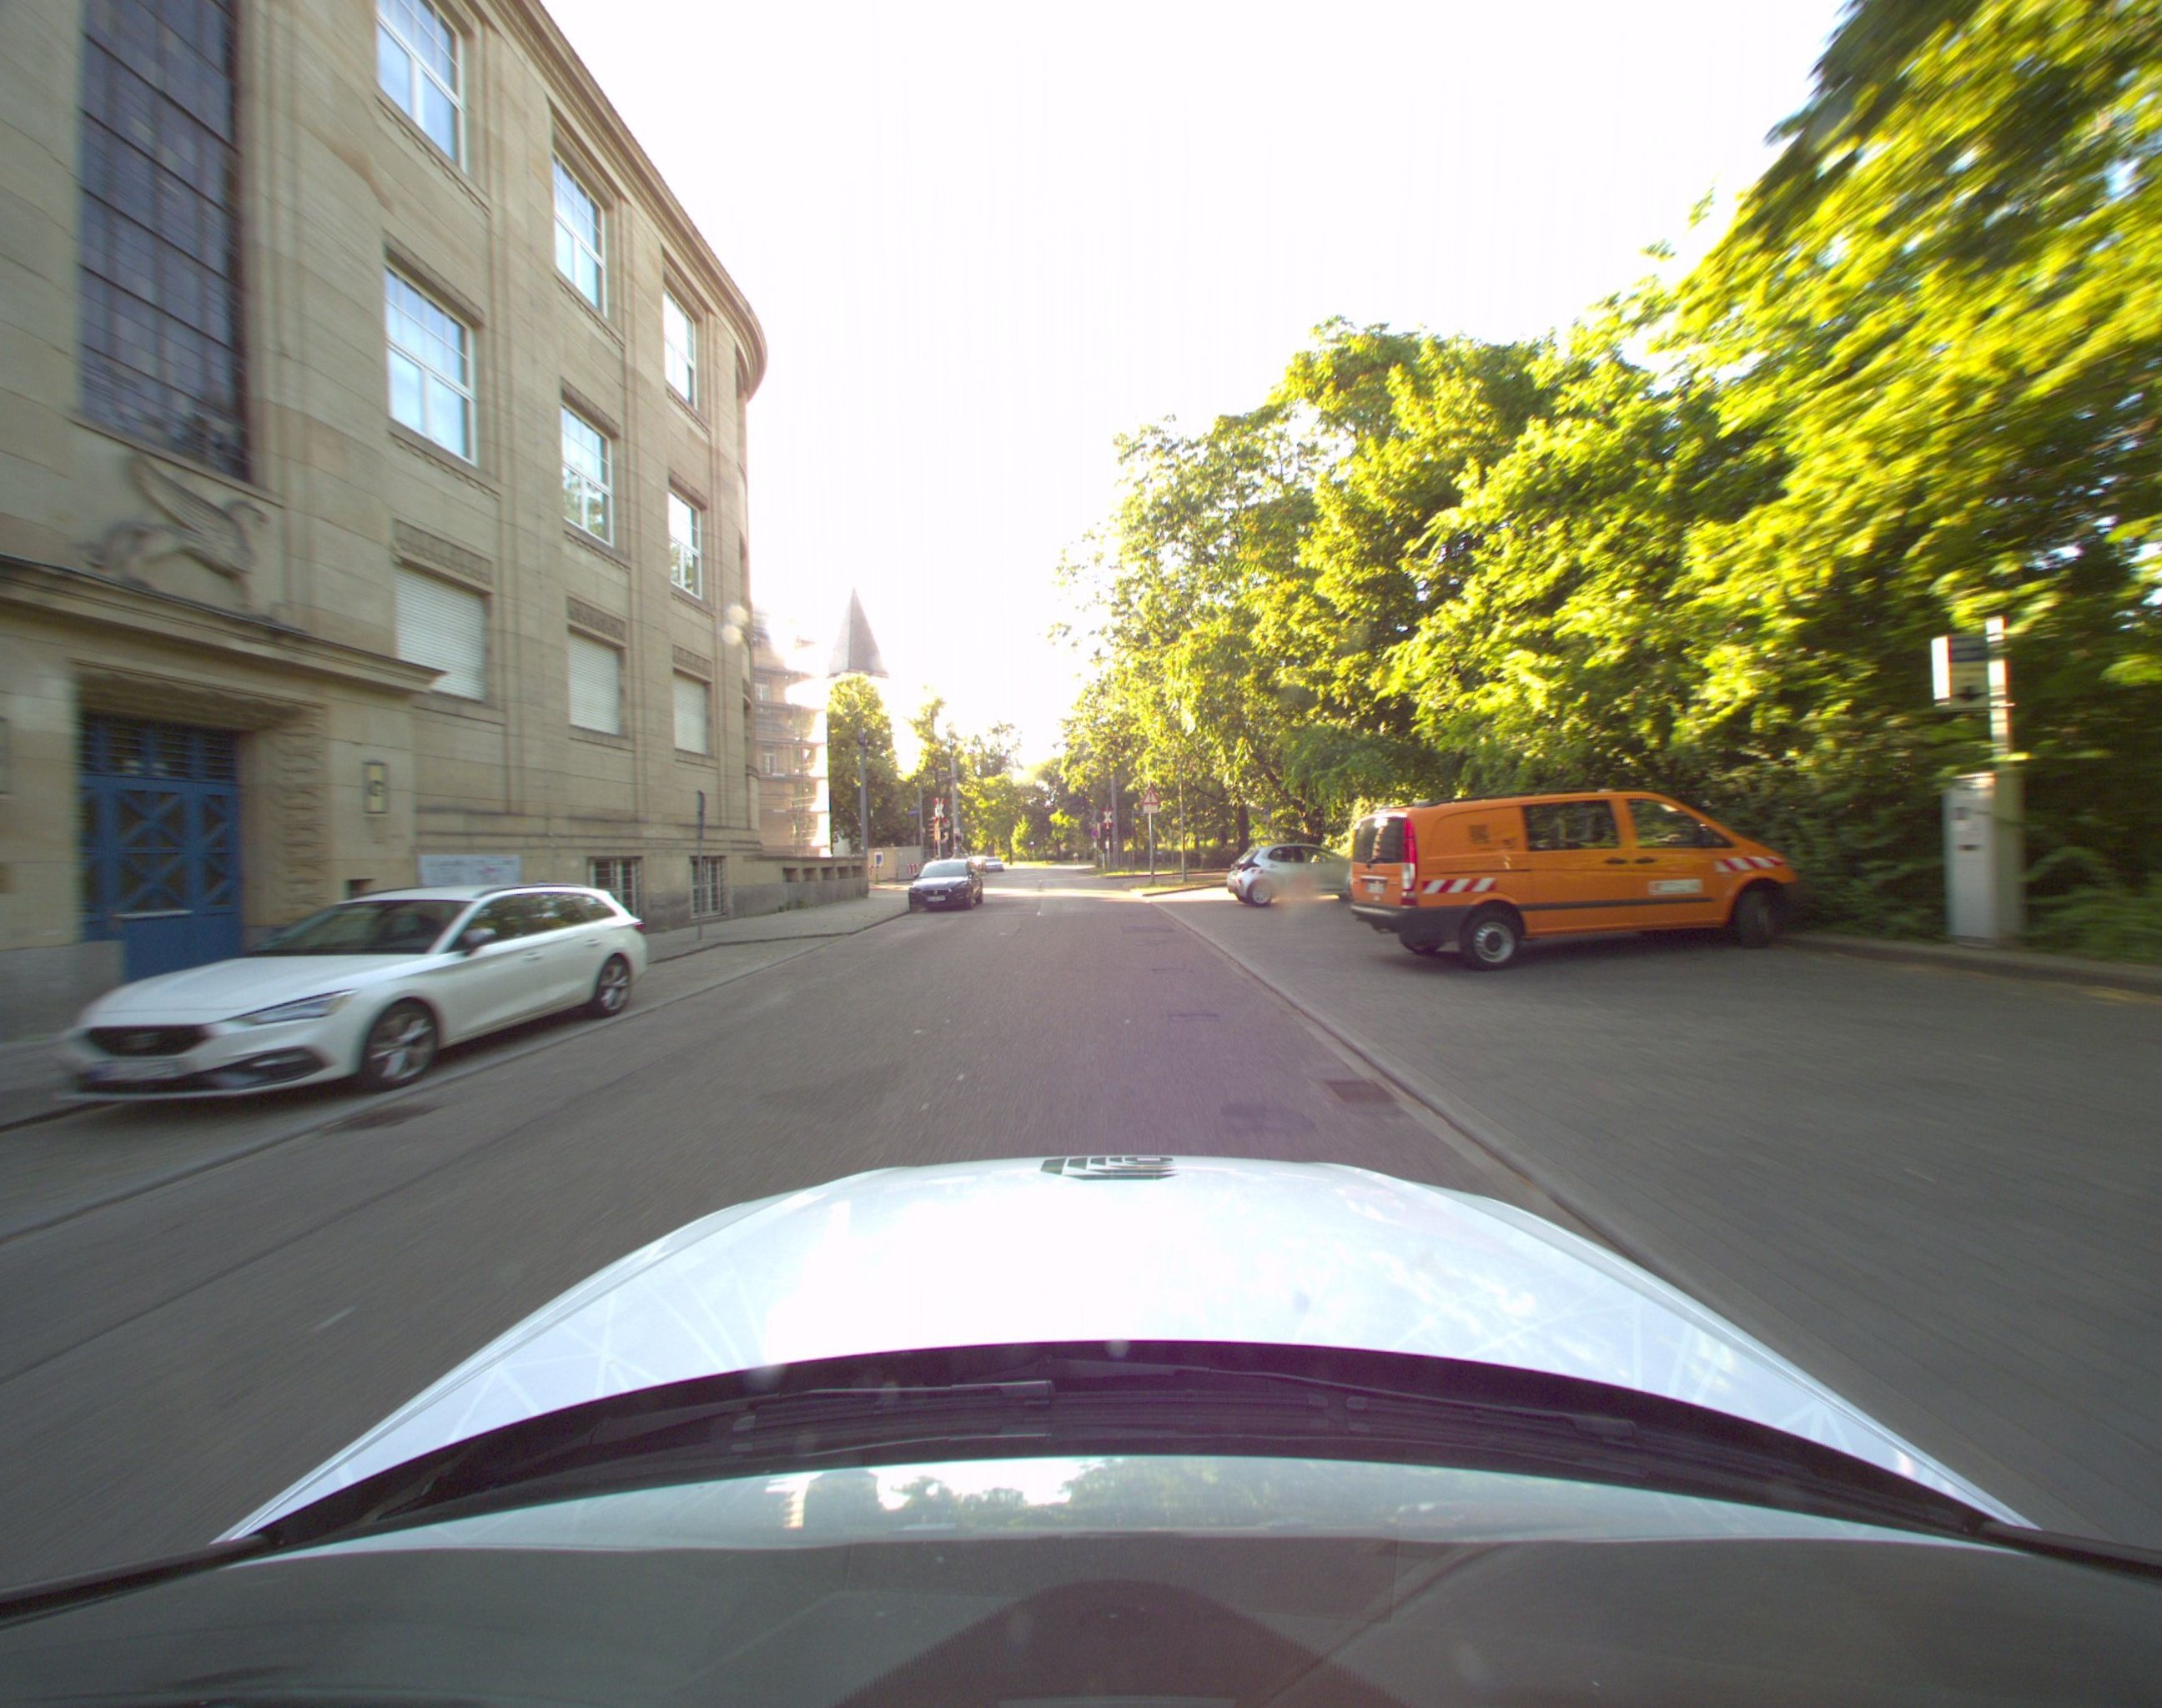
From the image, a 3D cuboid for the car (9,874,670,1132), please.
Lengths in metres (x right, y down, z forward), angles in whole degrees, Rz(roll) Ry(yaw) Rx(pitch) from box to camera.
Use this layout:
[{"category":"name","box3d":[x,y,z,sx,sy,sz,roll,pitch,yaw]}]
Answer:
[{"category":"car","box3d":[-5.765,0.981,7.348,1.738,1.435,4.560,-1,0,0]}]

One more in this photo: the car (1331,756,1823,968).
[{"category":"car","box3d":[5.872,0.070,10.081,4.785,1.997,2.078,-4,0,-3]}]

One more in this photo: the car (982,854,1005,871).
[{"category":"car","box3d":[-8.392,0.795,77.795,1.779,1.415,4.483,-4,1,-9]}]

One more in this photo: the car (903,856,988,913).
[{"category":"car","box3d":[-3.947,0.840,24.389,1.738,1.448,4.208,-3,0,1]}]

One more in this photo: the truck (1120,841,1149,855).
[{"category":"truck","box3d":[12.678,-1.403,192.961,2.623,3.029,7.924,-2,0,-34]}]

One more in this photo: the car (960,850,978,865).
[{"category":"car","box3d":[-15.225,0.466,110.862,1.854,1.946,4.818,-2,0,-14]}]

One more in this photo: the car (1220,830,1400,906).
[{"category":"car","box3d":[5.699,0.336,20.584,3.974,1.546,1.735,-4,0,0]}]

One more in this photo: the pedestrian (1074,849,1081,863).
[{"category":"pedestrian","box3d":[-0.419,0.250,98.664,0.772,1.574,0.766,-3,0,-4]}]
